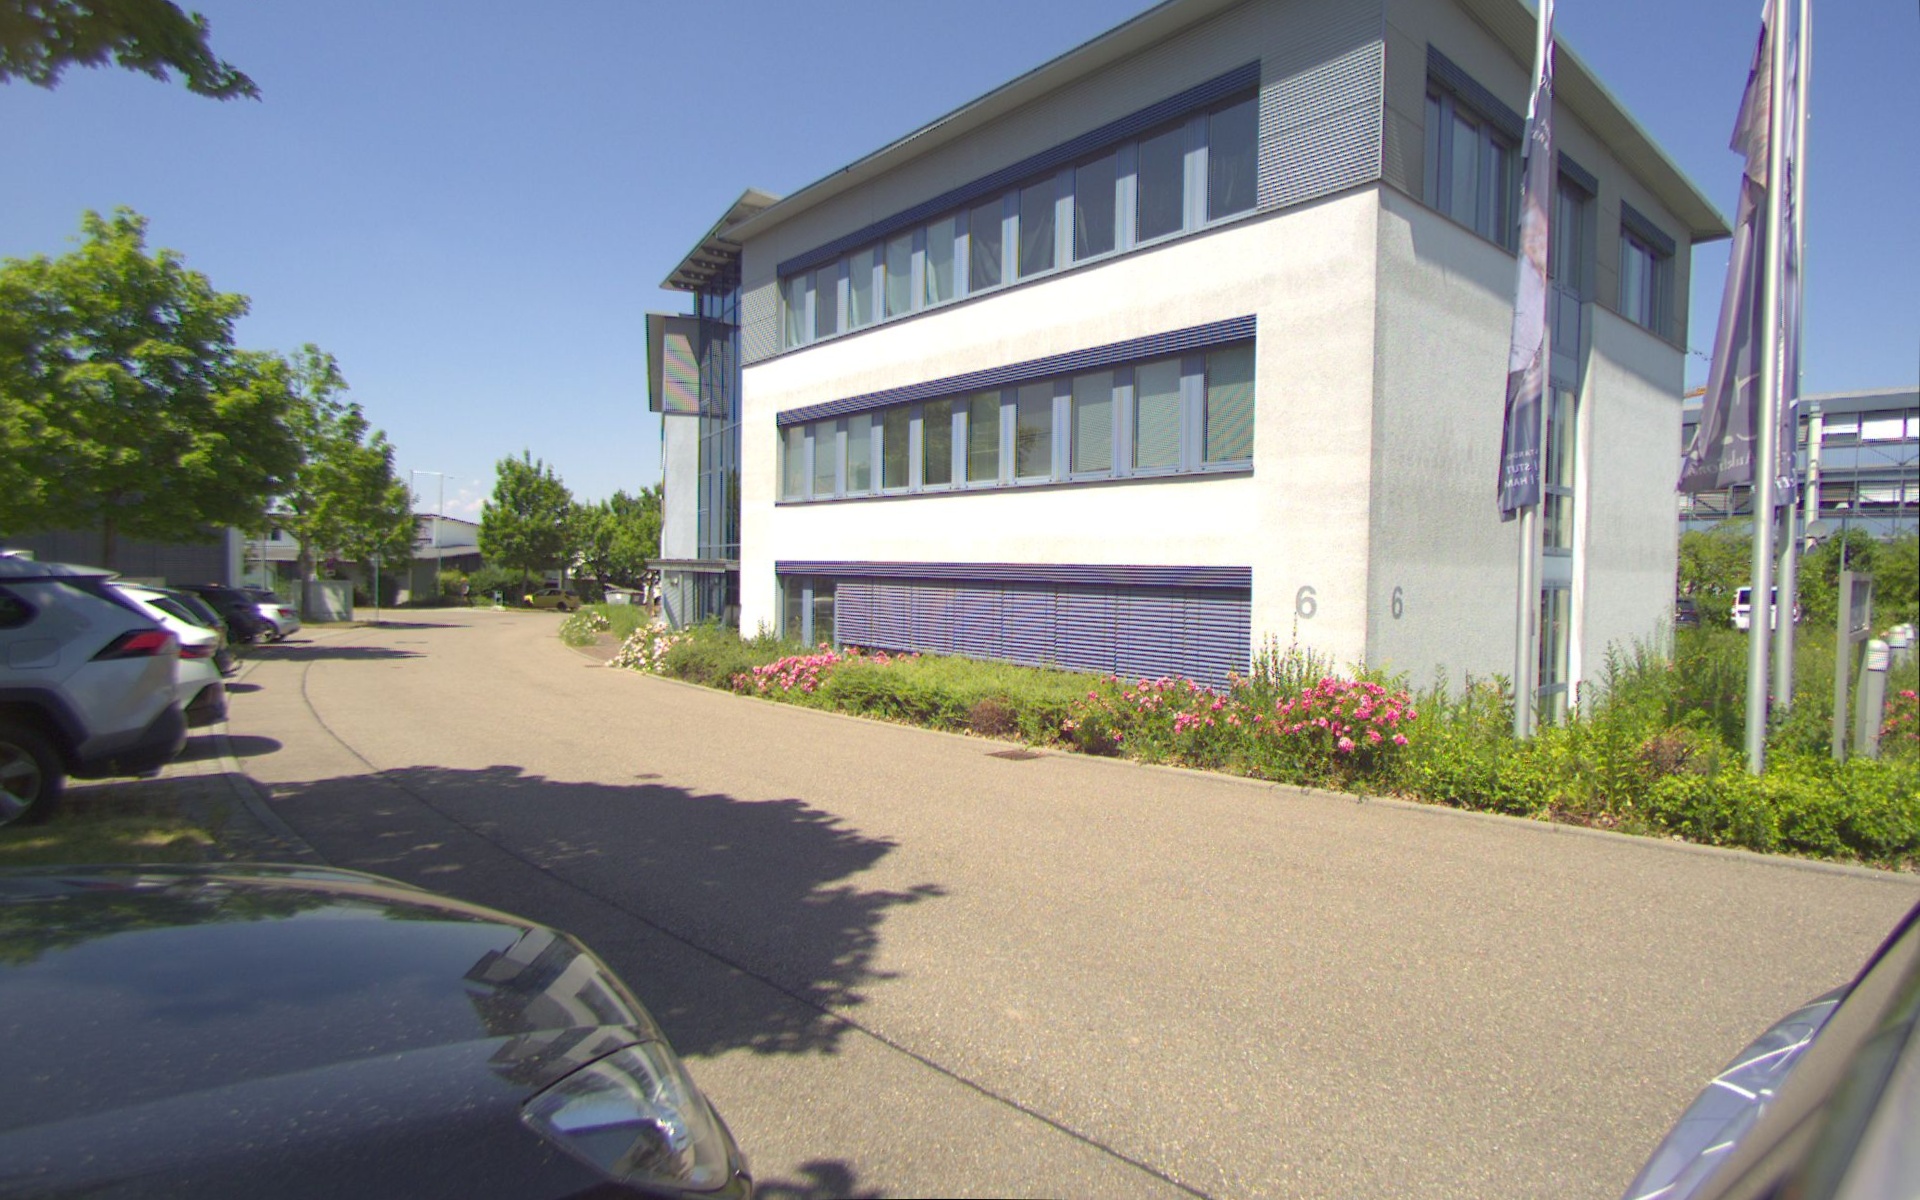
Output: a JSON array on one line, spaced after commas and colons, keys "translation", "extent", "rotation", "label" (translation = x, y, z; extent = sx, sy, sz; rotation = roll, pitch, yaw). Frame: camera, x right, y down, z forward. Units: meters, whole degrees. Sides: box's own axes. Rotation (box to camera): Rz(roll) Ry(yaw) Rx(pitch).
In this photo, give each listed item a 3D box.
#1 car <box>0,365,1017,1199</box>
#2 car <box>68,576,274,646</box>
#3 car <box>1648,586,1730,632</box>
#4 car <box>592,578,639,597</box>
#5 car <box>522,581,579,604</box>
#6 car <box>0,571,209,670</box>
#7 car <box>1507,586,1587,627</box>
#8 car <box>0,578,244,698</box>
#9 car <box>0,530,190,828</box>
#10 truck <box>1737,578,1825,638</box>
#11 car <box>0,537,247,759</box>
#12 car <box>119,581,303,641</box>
[{"translation": [-2.126, 0.608, 0.546], "extent": [4.491, 1.568, 1.759], "rotation": [0, 1, -45], "label": "car"}, {"translation": [-18.497, 0.273, 23.913], "extent": [3.515, 1.545, 1.639], "rotation": [1, 0, -24], "label": "car"}, {"translation": [27.041, 0.297, 37.491], "extent": [3.934, 1.565, 1.784], "rotation": [-1, 2, -44], "label": "car"}, {"translation": [-26.725, -0.987, 78.546], "extent": [3.163, 1.460, 1.585], "rotation": [1, 1, 10], "label": "car"}, {"translation": [-27.130, -0.508, 67.068], "extent": [3.163, 1.460, 1.585], "rotation": [1, 1, 10], "label": "car"}, {"translation": [-15.844, 0.337, 17.720], "extent": [4.093, 1.625, 1.663], "rotation": [1, 0, -28], "label": "car"}, {"translation": [23.821, 0.212, 41.006], "extent": [3.934, 1.565, 1.784], "rotation": [-1, 2, -44], "label": "car"}, {"translation": [-12.241, 0.477, 13.698], "extent": [4.098, 1.505, 1.661], "rotation": [1, 0, -35], "label": "car"}, {"translation": [-6.936, 0.406, 5.469], "extent": [4.258, 1.664, 1.854], "rotation": [1, 0, -42], "label": "car"}, {"translation": [28.443, 0.231, 35.031], "extent": [1.994, 1.917, 3.936], "rotation": [1, 1, 44], "label": "truck"}, {"translation": [-8.159, 0.337, 7.834], "extent": [4.131, 1.664, 1.657], "rotation": [1, 0, -42], "label": "car"}, {"translation": [-19.243, 0.292, 26.186], "extent": [3.515, 1.461, 1.639], "rotation": [1, 0, -24], "label": "car"}]
